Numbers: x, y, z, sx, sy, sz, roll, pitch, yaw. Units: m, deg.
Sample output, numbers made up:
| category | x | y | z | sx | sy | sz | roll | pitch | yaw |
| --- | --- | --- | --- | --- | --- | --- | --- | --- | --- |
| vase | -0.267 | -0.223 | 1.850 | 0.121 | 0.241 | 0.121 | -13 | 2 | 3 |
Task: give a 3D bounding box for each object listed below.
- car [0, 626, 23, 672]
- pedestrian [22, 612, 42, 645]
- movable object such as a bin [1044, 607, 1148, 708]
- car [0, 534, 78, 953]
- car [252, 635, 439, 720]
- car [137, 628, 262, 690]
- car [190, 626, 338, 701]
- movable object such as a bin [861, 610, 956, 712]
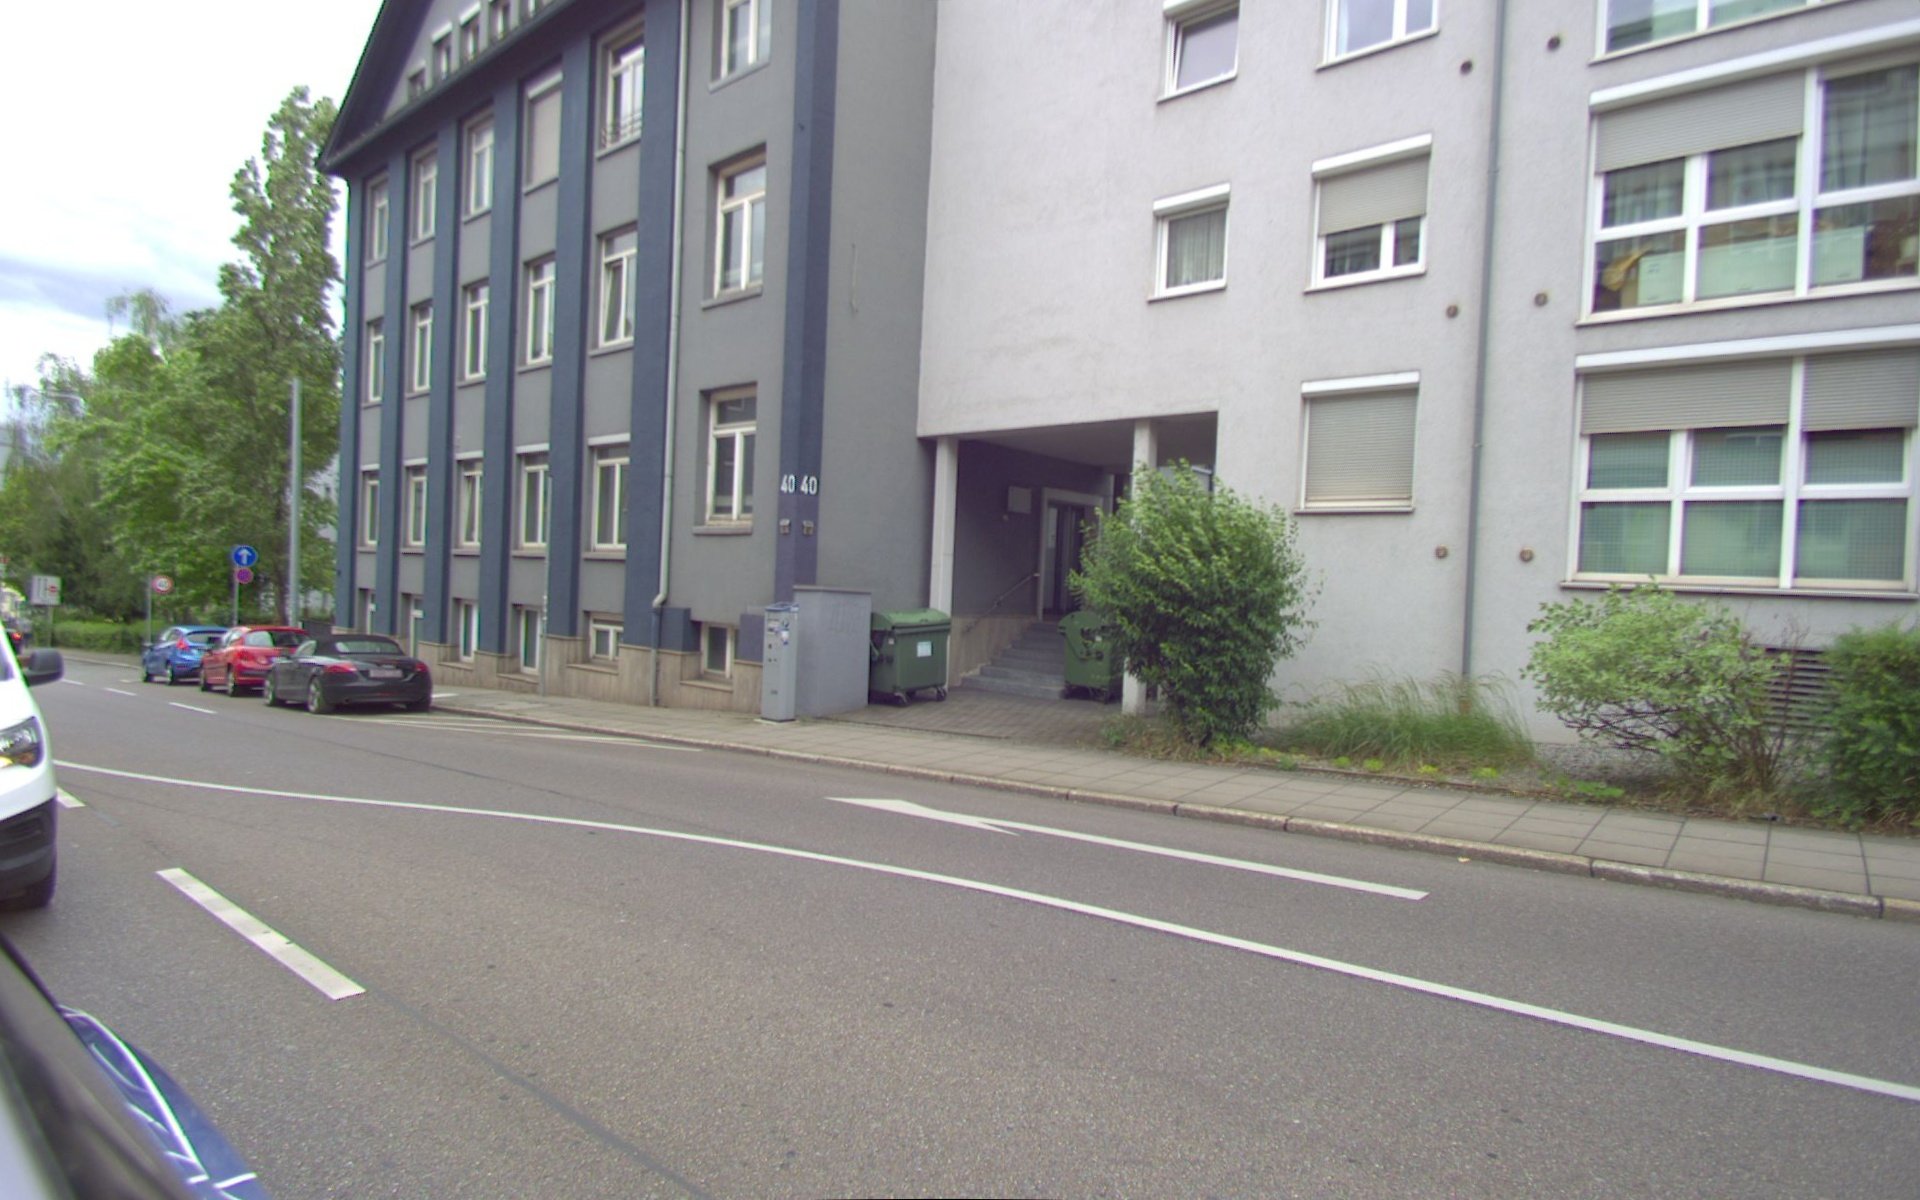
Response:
| category | x | y | z | sx | sy | sz | roll | pitch | yaw |
| --- | --- | --- | --- | --- | --- | --- | --- | --- | --- |
| car | -31.614 | 1.532 | 32.468 | 4.668 | 1.429 | 1.766 | -1 | -4 | 41 |
| pedestrian | -53.559 | 1.629 | 58.406 | 0.776 | 1.864 | 0.736 | -2 | -1 | 42 |
| movable object such as a bin | 2.231 | 0.915 | 16.635 | 1.190 | 1.489 | 1.132 | 5 | 2 | 41 |
| car | -6.451 | 0.671 | 5.546 | 4.937 | 1.821 | 1.816 | -1 | 0 | 42 |
| car | -11.046 | 1.321 | 18.093 | 4.040 | 1.337 | 1.701 | -1 | -4 | 42 |
| car | -19.345 | 1.456 | 25.701 | 3.724 | 1.465 | 1.702 | -1 | -3 | 40 |
| car | -15.262 | 1.356 | 22.135 | 3.868 | 1.485 | 1.795 | -2 | -4 | 43 |
| movable object such as a bin | -0.792 | 0.907 | 15.692 | 0.784 | 1.467 | 1.251 | 0 | 1 | 44 |
